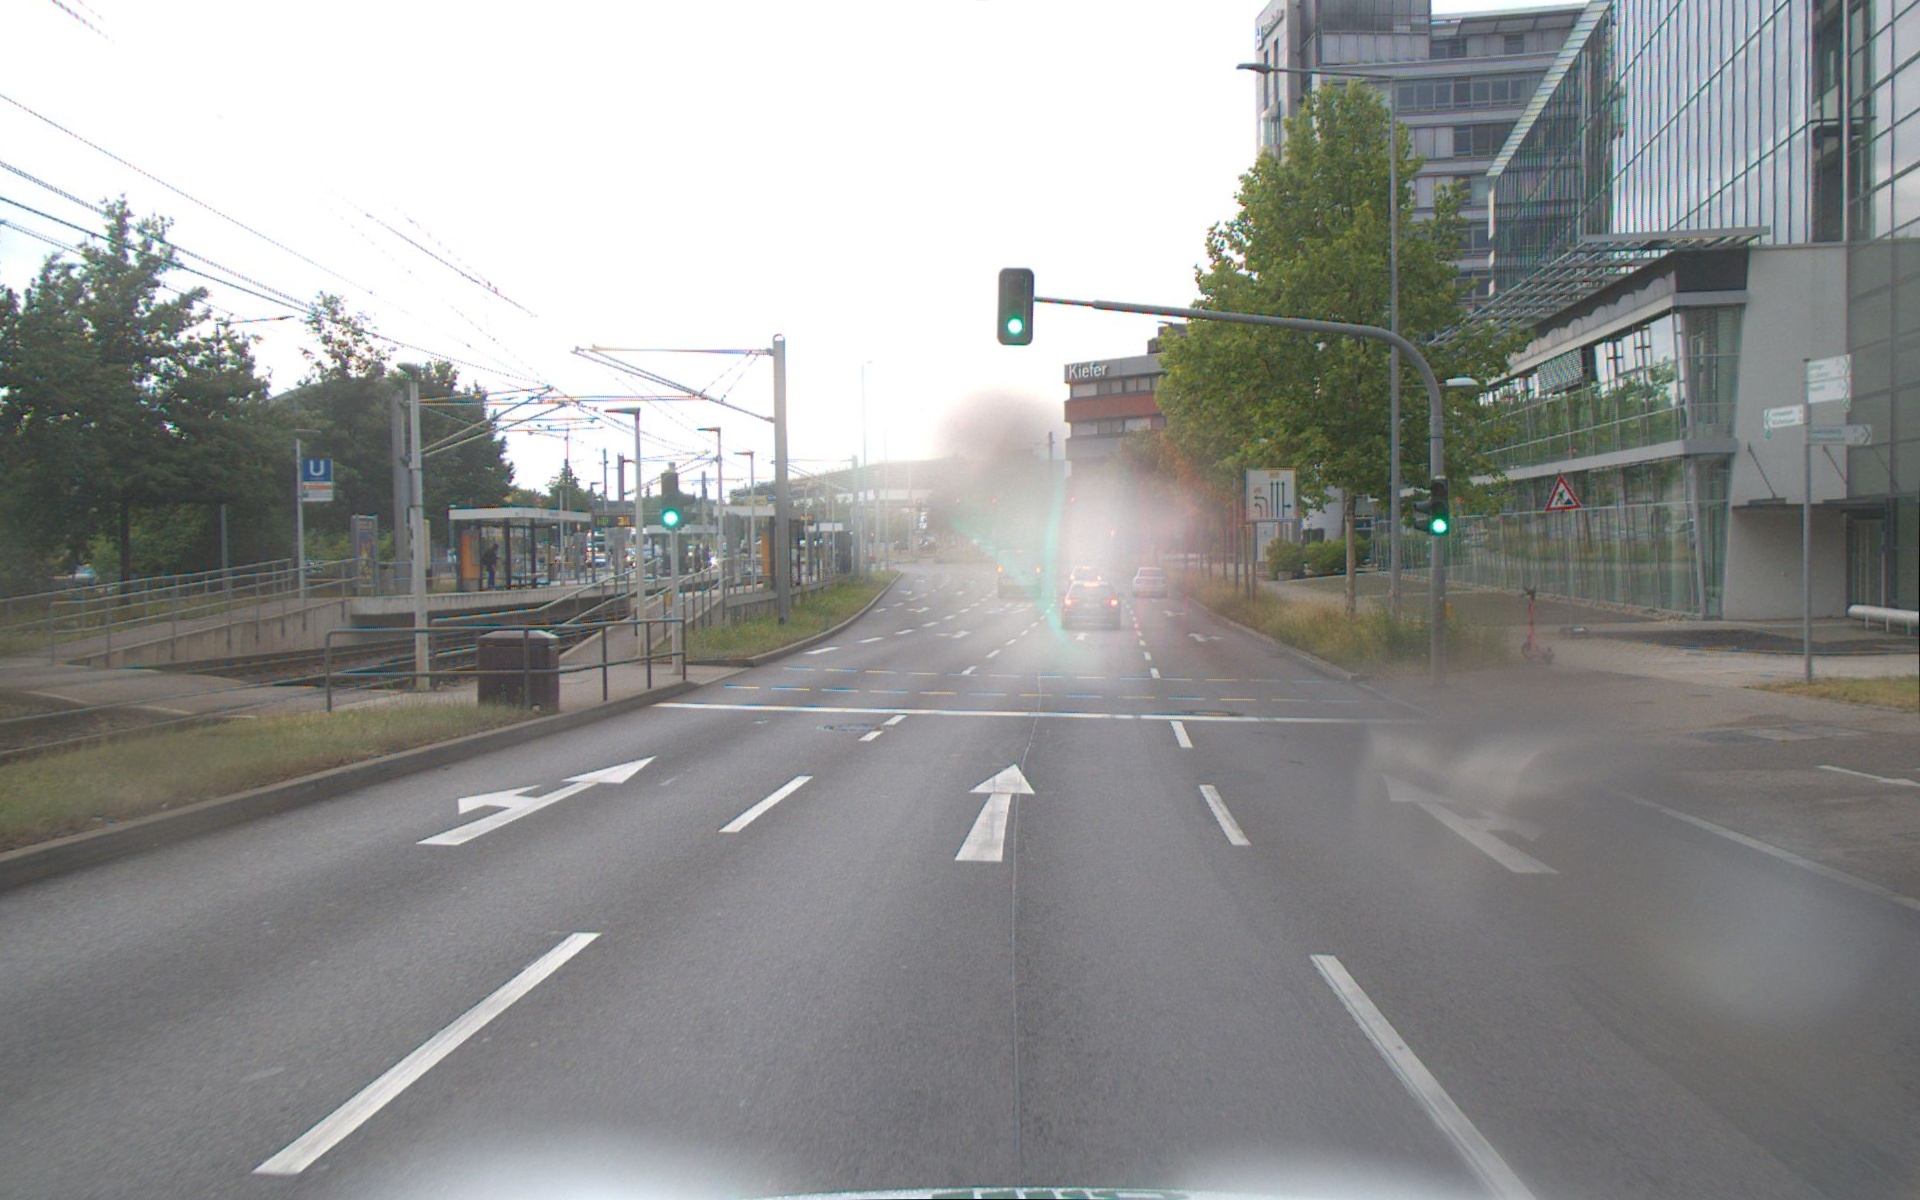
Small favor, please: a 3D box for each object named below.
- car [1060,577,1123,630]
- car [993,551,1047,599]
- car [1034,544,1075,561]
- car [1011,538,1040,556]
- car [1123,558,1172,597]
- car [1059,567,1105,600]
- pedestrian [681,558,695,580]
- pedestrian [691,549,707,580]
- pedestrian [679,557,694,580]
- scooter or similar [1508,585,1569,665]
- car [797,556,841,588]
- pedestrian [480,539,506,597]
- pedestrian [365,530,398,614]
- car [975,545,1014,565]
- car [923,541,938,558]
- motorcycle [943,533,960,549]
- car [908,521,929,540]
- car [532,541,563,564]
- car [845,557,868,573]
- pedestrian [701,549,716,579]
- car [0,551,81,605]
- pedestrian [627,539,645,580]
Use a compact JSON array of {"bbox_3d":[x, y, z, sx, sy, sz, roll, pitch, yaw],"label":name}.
[{"bbox_3d":[4.030,0.076,50.099,1.727,1.489,4.630,1,1,6],"label":"car"},{"bbox_3d":[2.857,-1.203,78.739,2.459,2.215,5.151,0,1,2],"label":"car"},{"bbox_3d":[9.576,-4.801,167.819,2.009,1.651,3.942,0,1,-40],"label":"car"},{"bbox_3d":[7.887,-6.422,200.710,1.968,2.049,3.969,1,-2,-24],"label":"car"},{"bbox_3d":[9.294,-1.135,82.222,1.979,1.800,4.001,0,2,0],"label":"car"},{"bbox_3d":[6.261,-0.852,85.224,1.980,1.651,3.999,0,1,-1],"label":"car"},{"bbox_3d":[-15.827,-1.811,96.348,0.712,1.275,0.731,0,0,-1],"label":"pedestrian"},{"bbox_3d":[-14.966,-2.036,94.883,0.714,1.745,0.831,0,0,1],"label":"pedestrian"},{"bbox_3d":[-15.800,-1.807,95.534,0.712,1.275,0.731,0,0,-1],"label":"pedestrian"},{"bbox_3d":[9.683,0.404,27.710,0.448,1.285,1.336,-3,0,-3],"label":"scooter or similar"},{"bbox_3d":[-7.512,-1.518,88.413,1.952,1.477,3.849,0,4,0],"label":"car"},{"bbox_3d":[-15.485,-1.062,54.846,0.624,1.887,0.750,0,-2,0],"label":"pedestrian"},{"bbox_3d":[-13.897,-0.671,39.747,0.538,1.987,0.663,1,-2,-4],"label":"pedestrian"},{"bbox_3d":[3.704,-4.822,177.769,1.981,2.049,3.942,1,1,-40],"label":"car"},{"bbox_3d":[-4.003,-6.794,222.647,1.782,2.049,3.467,0,-1,-5],"label":"car"},{"bbox_3d":[-1.288,-8.738,245.597,1.957,2.049,3.990,1,-1,-10],"label":"motorcycle"},{"bbox_3d":[-5.206,-8.665,206.233,1.958,2.049,3.989,0,-1,-11],"label":"car"},{"bbox_3d":[-41.492,-4.795,166.514,1.973,2.049,3.958,1,-2,-31],"label":"car"},{"bbox_3d":[-10.609,-3.560,168.939,1.984,1.651,3.992,0,1,-9],"label":"car"},{"bbox_3d":[-15.398,-2.207,101.272,0.737,1.782,0.764,0,-2,1],"label":"pedestrian"},{"bbox_3d":[-36.478,-0.868,64.667,1.952,2.049,4.002,0,1,3],"label":"car"},{"bbox_3d":[-16.516,-2.046,84.312,0.839,2.049,1.039,1,-2,-9],"label":"pedestrian"}]
